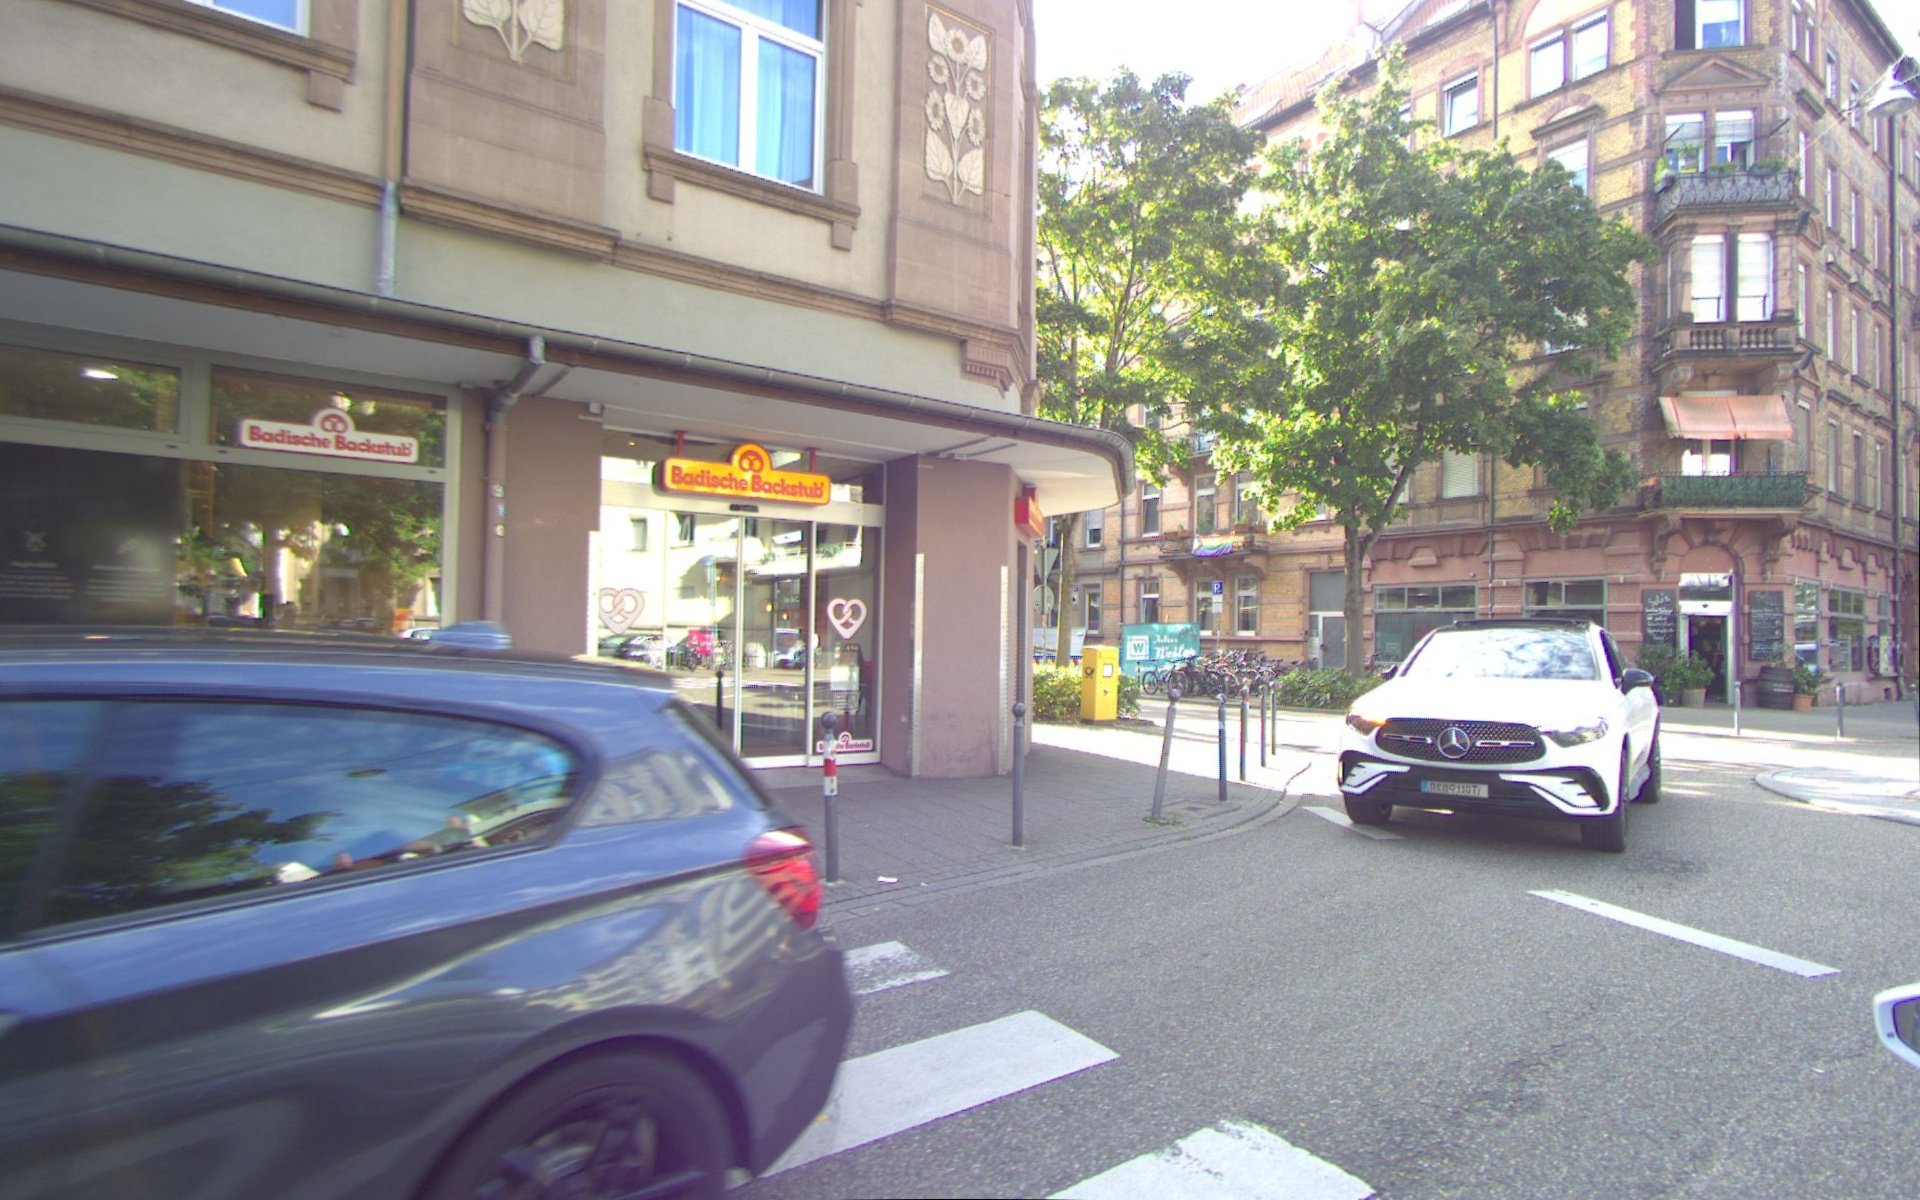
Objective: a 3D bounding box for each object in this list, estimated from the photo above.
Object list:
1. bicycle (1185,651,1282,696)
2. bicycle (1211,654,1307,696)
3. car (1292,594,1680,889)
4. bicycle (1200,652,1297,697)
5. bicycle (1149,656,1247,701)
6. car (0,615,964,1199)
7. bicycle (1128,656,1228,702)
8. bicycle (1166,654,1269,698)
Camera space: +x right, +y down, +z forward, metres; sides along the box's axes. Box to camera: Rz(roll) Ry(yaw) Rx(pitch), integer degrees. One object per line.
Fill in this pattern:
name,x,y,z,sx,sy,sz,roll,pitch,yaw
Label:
bicycle,7.760,2.063,28.667,0.627,1.206,2.874,2,-3,-38
bicycle,8.756,2.181,29.565,0.627,1.138,2.874,2,-3,-38
car,4.670,0.932,8.464,1.920,1.744,4.827,-3,-3,39
bicycle,8.325,2.138,29.126,0.627,1.213,2.874,2,-3,-38
bicycle,6.502,2.134,27.683,0.627,1.138,2.874,2,-3,-38
car,-2.129,0.750,1.679,4.181,1.455,1.734,4,-2,-42
bicycle,5.889,2.131,27.369,0.720,1.138,2.874,2,-3,-38
bicycle,7.166,2.107,28.154,0.627,1.138,3.072,2,-3,-38
